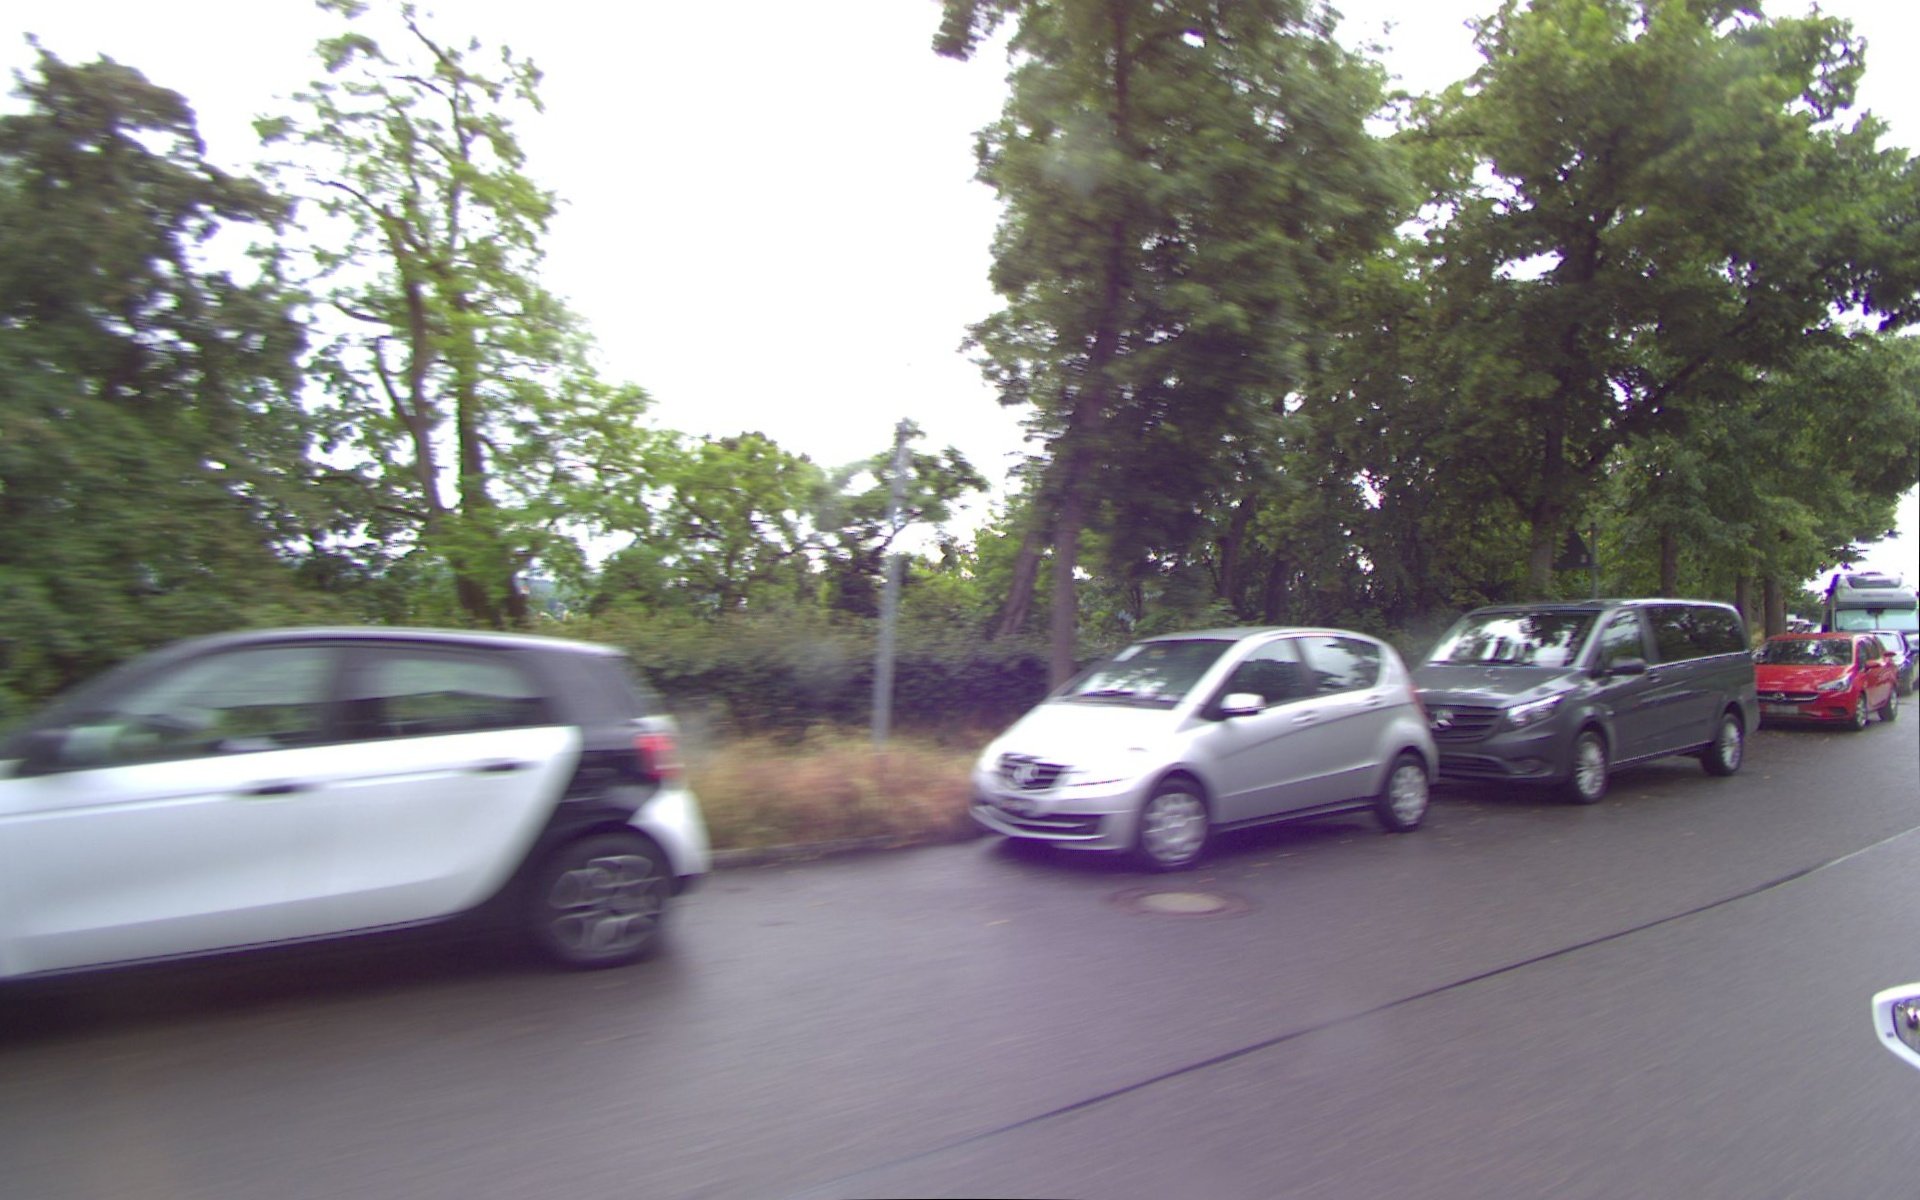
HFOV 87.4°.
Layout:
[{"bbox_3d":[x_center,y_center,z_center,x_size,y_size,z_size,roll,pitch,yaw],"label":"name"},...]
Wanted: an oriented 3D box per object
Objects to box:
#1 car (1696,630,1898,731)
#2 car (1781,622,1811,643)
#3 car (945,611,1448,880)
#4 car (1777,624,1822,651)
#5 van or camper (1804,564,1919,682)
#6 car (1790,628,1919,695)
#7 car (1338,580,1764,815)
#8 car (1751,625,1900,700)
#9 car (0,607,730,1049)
[{"bbox_3d":[14.438,1.288,17.233,4.539,1.480,1.938,1,-3,-41],"label":"car"},{"bbox_3d":[60.483,2.314,72.659,1.669,1.456,4.236,0,-1,40],"label":"car"},{"bbox_3d":[1.888,0.967,7.672,3.729,1.572,1.673,2,-5,-35],"label":"car"},{"bbox_3d":[45.305,2.014,54.253,1.574,1.380,3.987,0,-1,36],"label":"car"},{"bbox_3d":[26.246,0.706,29.100,2.475,3.066,6.533,-2,-3,39],"label":"van or camper"},{"bbox_3d":[21.657,1.433,24.224,4.177,1.426,1.937,1,-3,-42],"label":"car"},{"bbox_3d":[6.448,0.897,10.759,4.950,1.993,1.943,0,-4,-34],"label":"car"},{"bbox_3d":[18.330,1.269,21.236,3.518,1.426,1.937,1,-3,-42],"label":"car"},{"bbox_3d":[-3.293,0.858,4.484,4.152,1.529,1.678,2,-4,-27],"label":"car"}]
